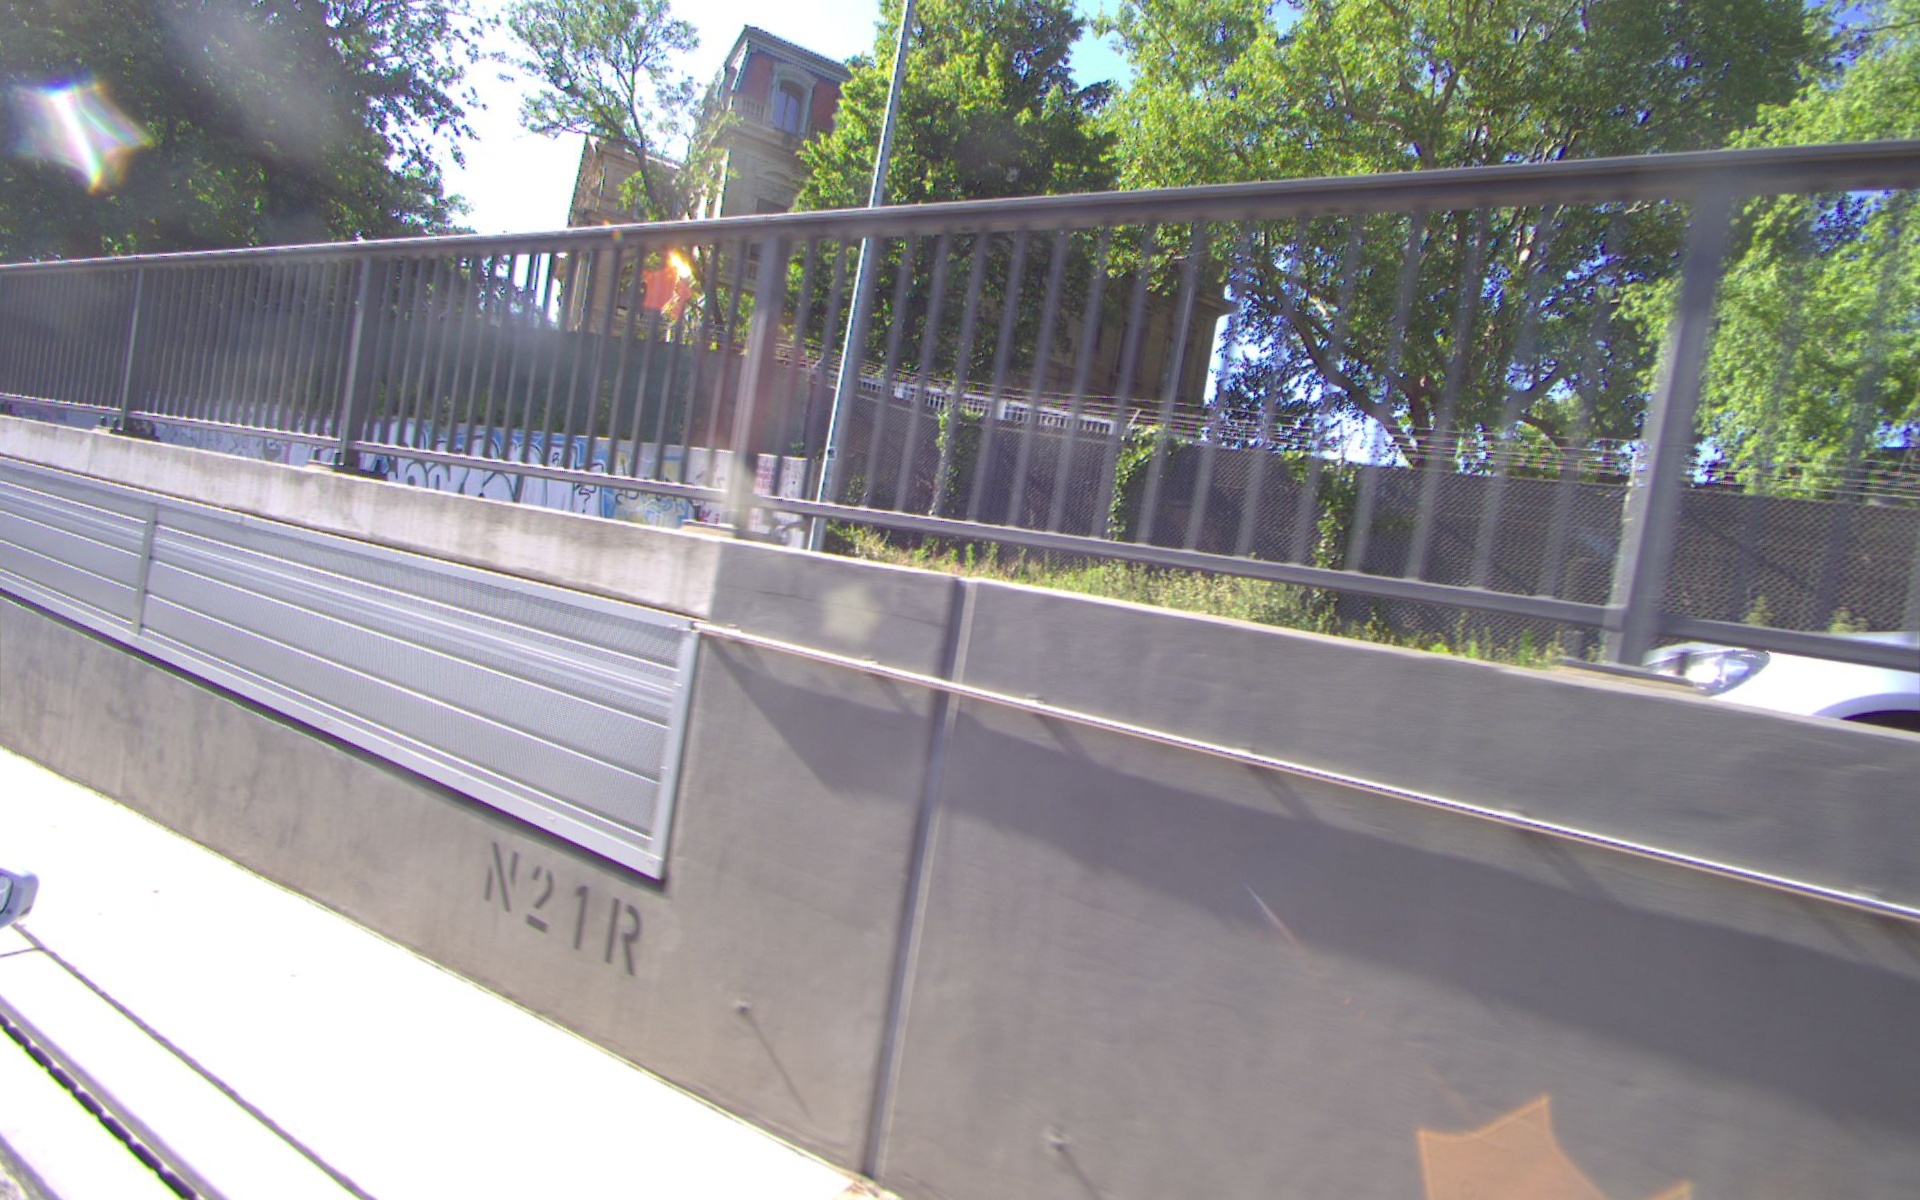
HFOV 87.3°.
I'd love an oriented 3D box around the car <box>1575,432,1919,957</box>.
[{"bbox_3d":[4.229,0.527,2.957,3.905,1.452,1.670,9,0,30],"label":"car"}]
